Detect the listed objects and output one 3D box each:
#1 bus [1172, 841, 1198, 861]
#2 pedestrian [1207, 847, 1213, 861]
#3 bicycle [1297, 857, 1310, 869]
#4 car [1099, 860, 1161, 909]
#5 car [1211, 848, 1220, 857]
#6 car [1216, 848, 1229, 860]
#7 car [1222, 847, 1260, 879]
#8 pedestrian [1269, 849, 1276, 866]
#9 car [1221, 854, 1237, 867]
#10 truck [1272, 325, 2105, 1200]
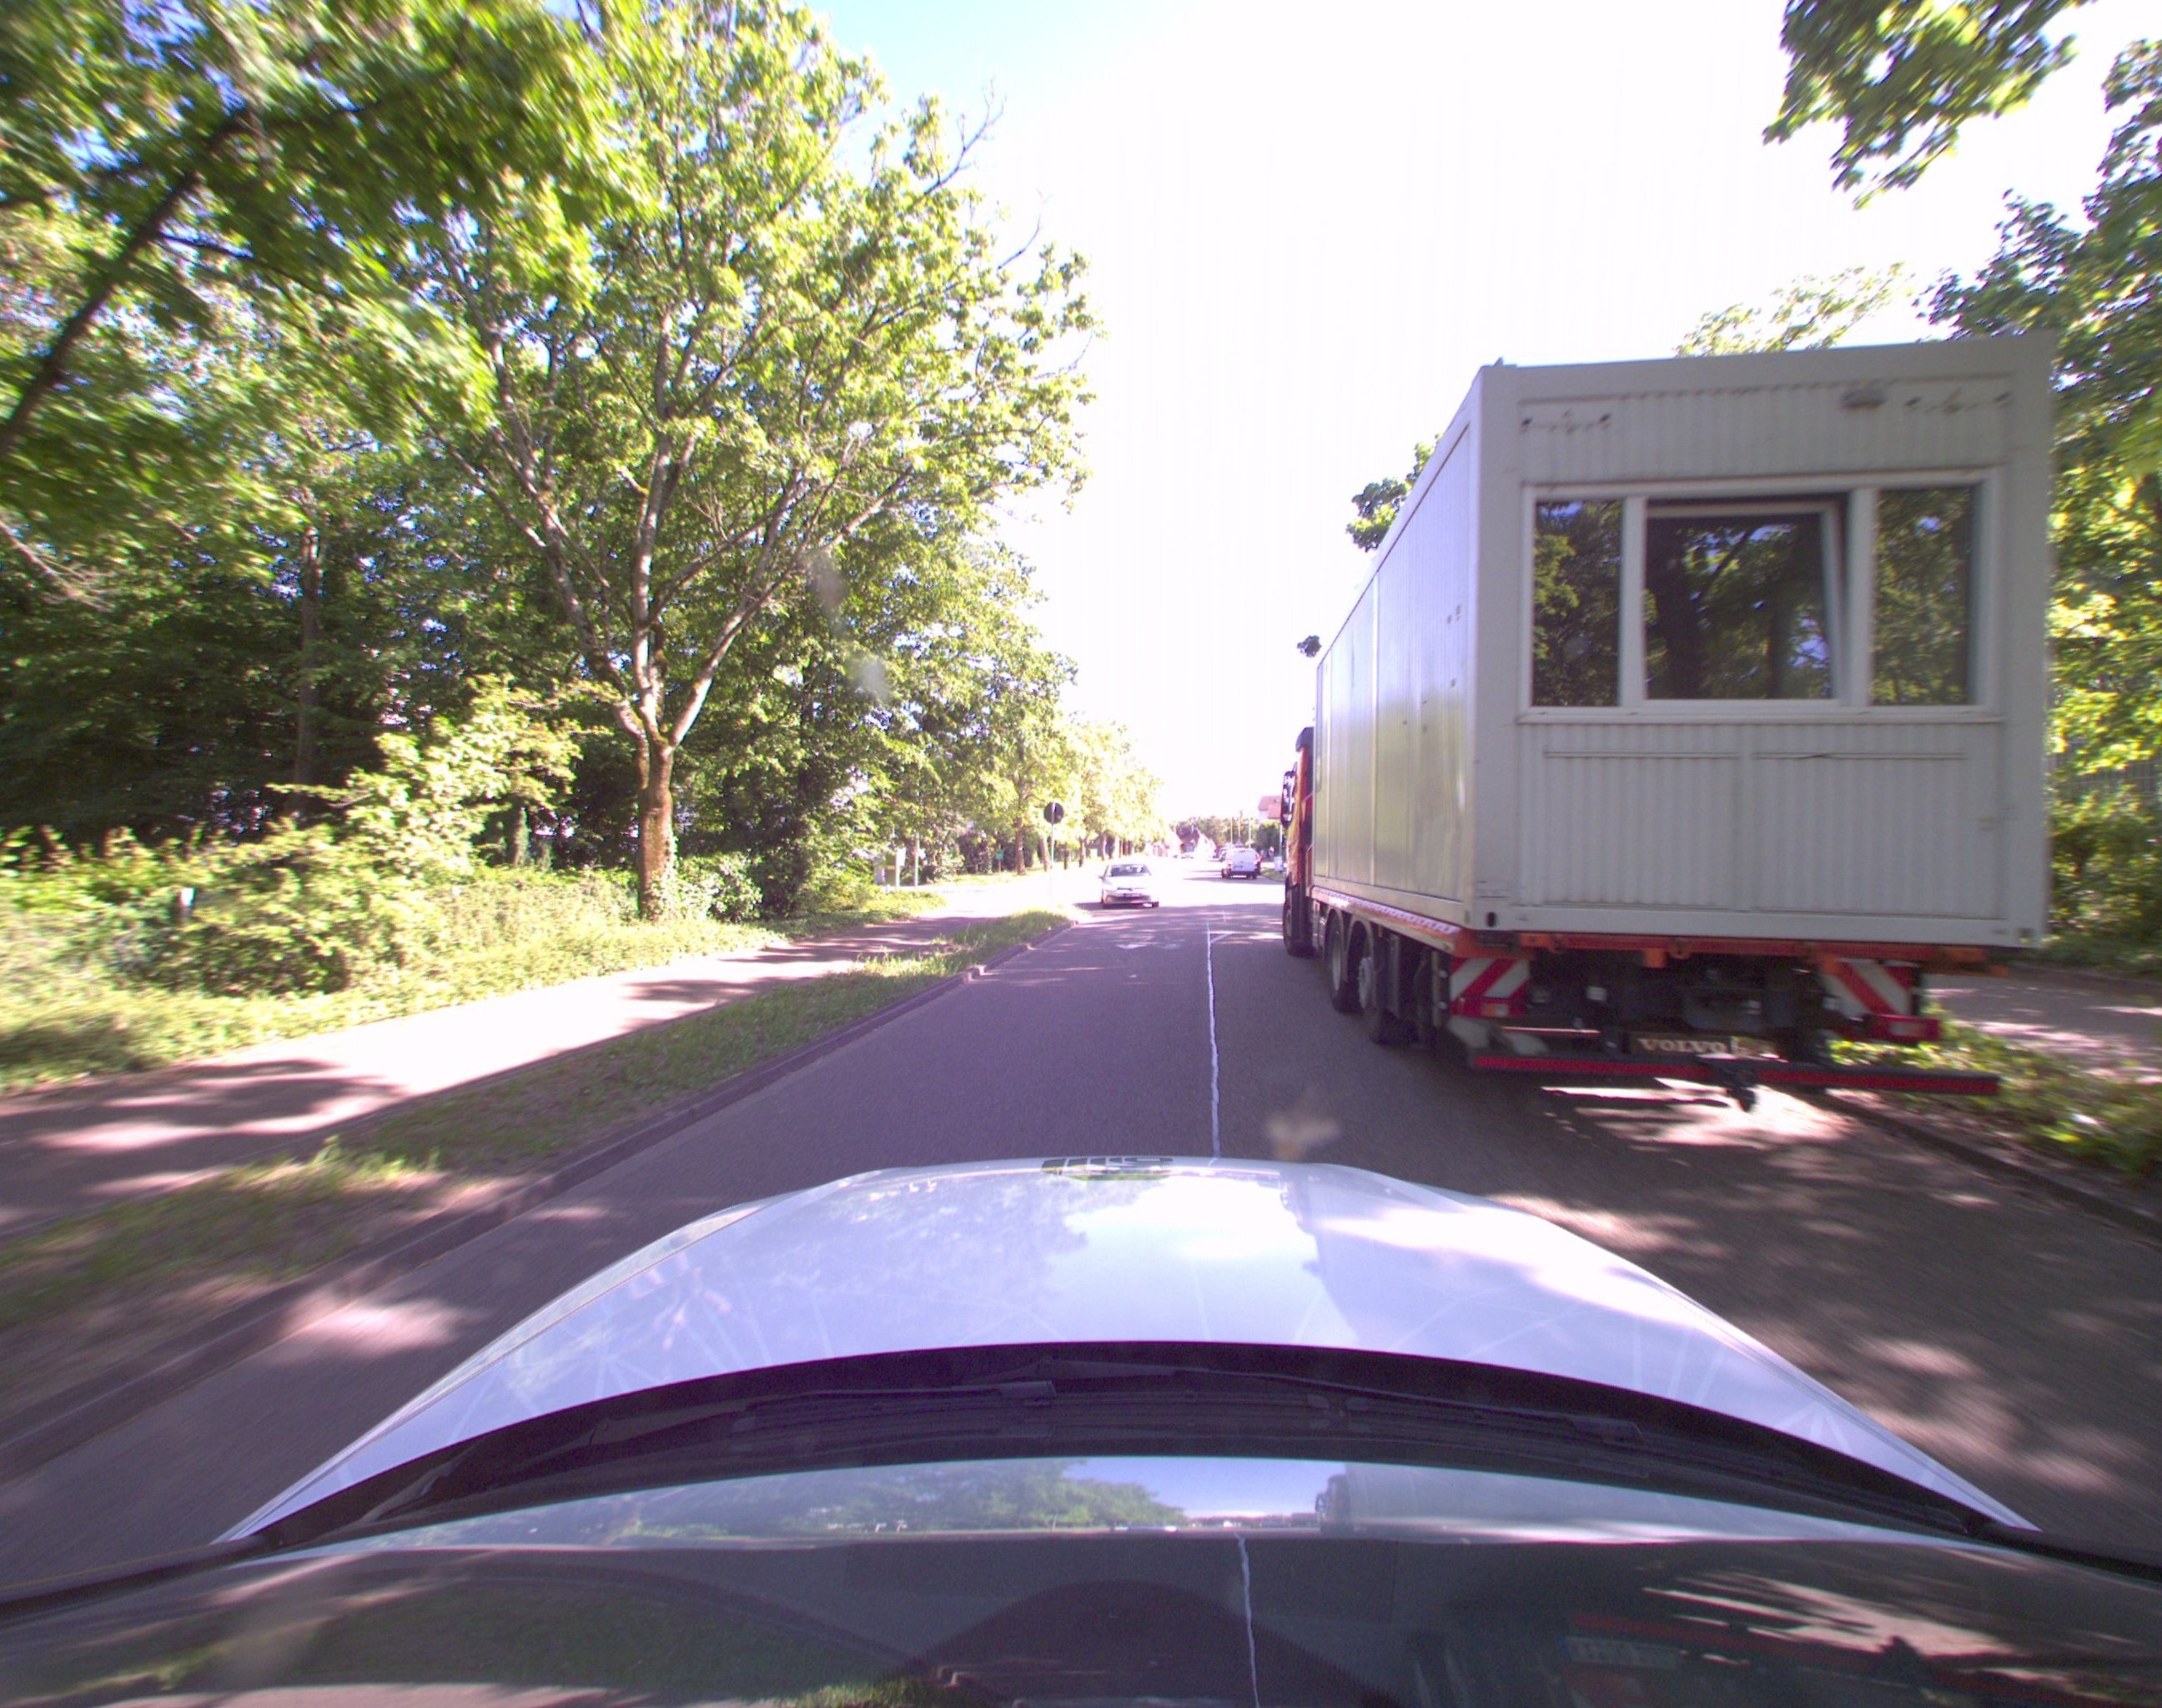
[{"bbox_3d":[18.869,-0.540,147.265,4.039,3.349,9.830,-1,0,11],"label":"bus"},{"bbox_3d":[20.426,-0.003,128.875,0.747,2.113,0.801,2,0,11],"label":"pedestrian"},{"bbox_3d":[18.582,0.764,68.068,0.631,1.027,2.177,1,0,26],"label":"bicycle"},{"bbox_3d":[1.523,0.937,26.533,1.799,1.420,3.959,-2,0,1],"label":"car"},{"bbox_3d":[28.299,-0.286,171.717,1.771,1.808,4.009,-1,0,8],"label":"car"},{"bbox_3d":[20.680,0.014,118.936,1.771,1.808,4.009,-1,0,8],"label":"car"},{"bbox_3d":[9.729,0.539,49.713,1.937,1.843,4.006,0,0,6],"label":"car"},{"bbox_3d":[22.898,0.420,97.509,0.639,2.013,0.701,2,0,1],"label":"pedestrian"},{"bbox_3d":[18.405,0.799,101.638,1.771,1.652,4.009,-1,0,8],"label":"car"},{"bbox_3d":[4.017,-0.455,9.026,2.757,3.996,10.372,1,0,8],"label":"truck"}]
